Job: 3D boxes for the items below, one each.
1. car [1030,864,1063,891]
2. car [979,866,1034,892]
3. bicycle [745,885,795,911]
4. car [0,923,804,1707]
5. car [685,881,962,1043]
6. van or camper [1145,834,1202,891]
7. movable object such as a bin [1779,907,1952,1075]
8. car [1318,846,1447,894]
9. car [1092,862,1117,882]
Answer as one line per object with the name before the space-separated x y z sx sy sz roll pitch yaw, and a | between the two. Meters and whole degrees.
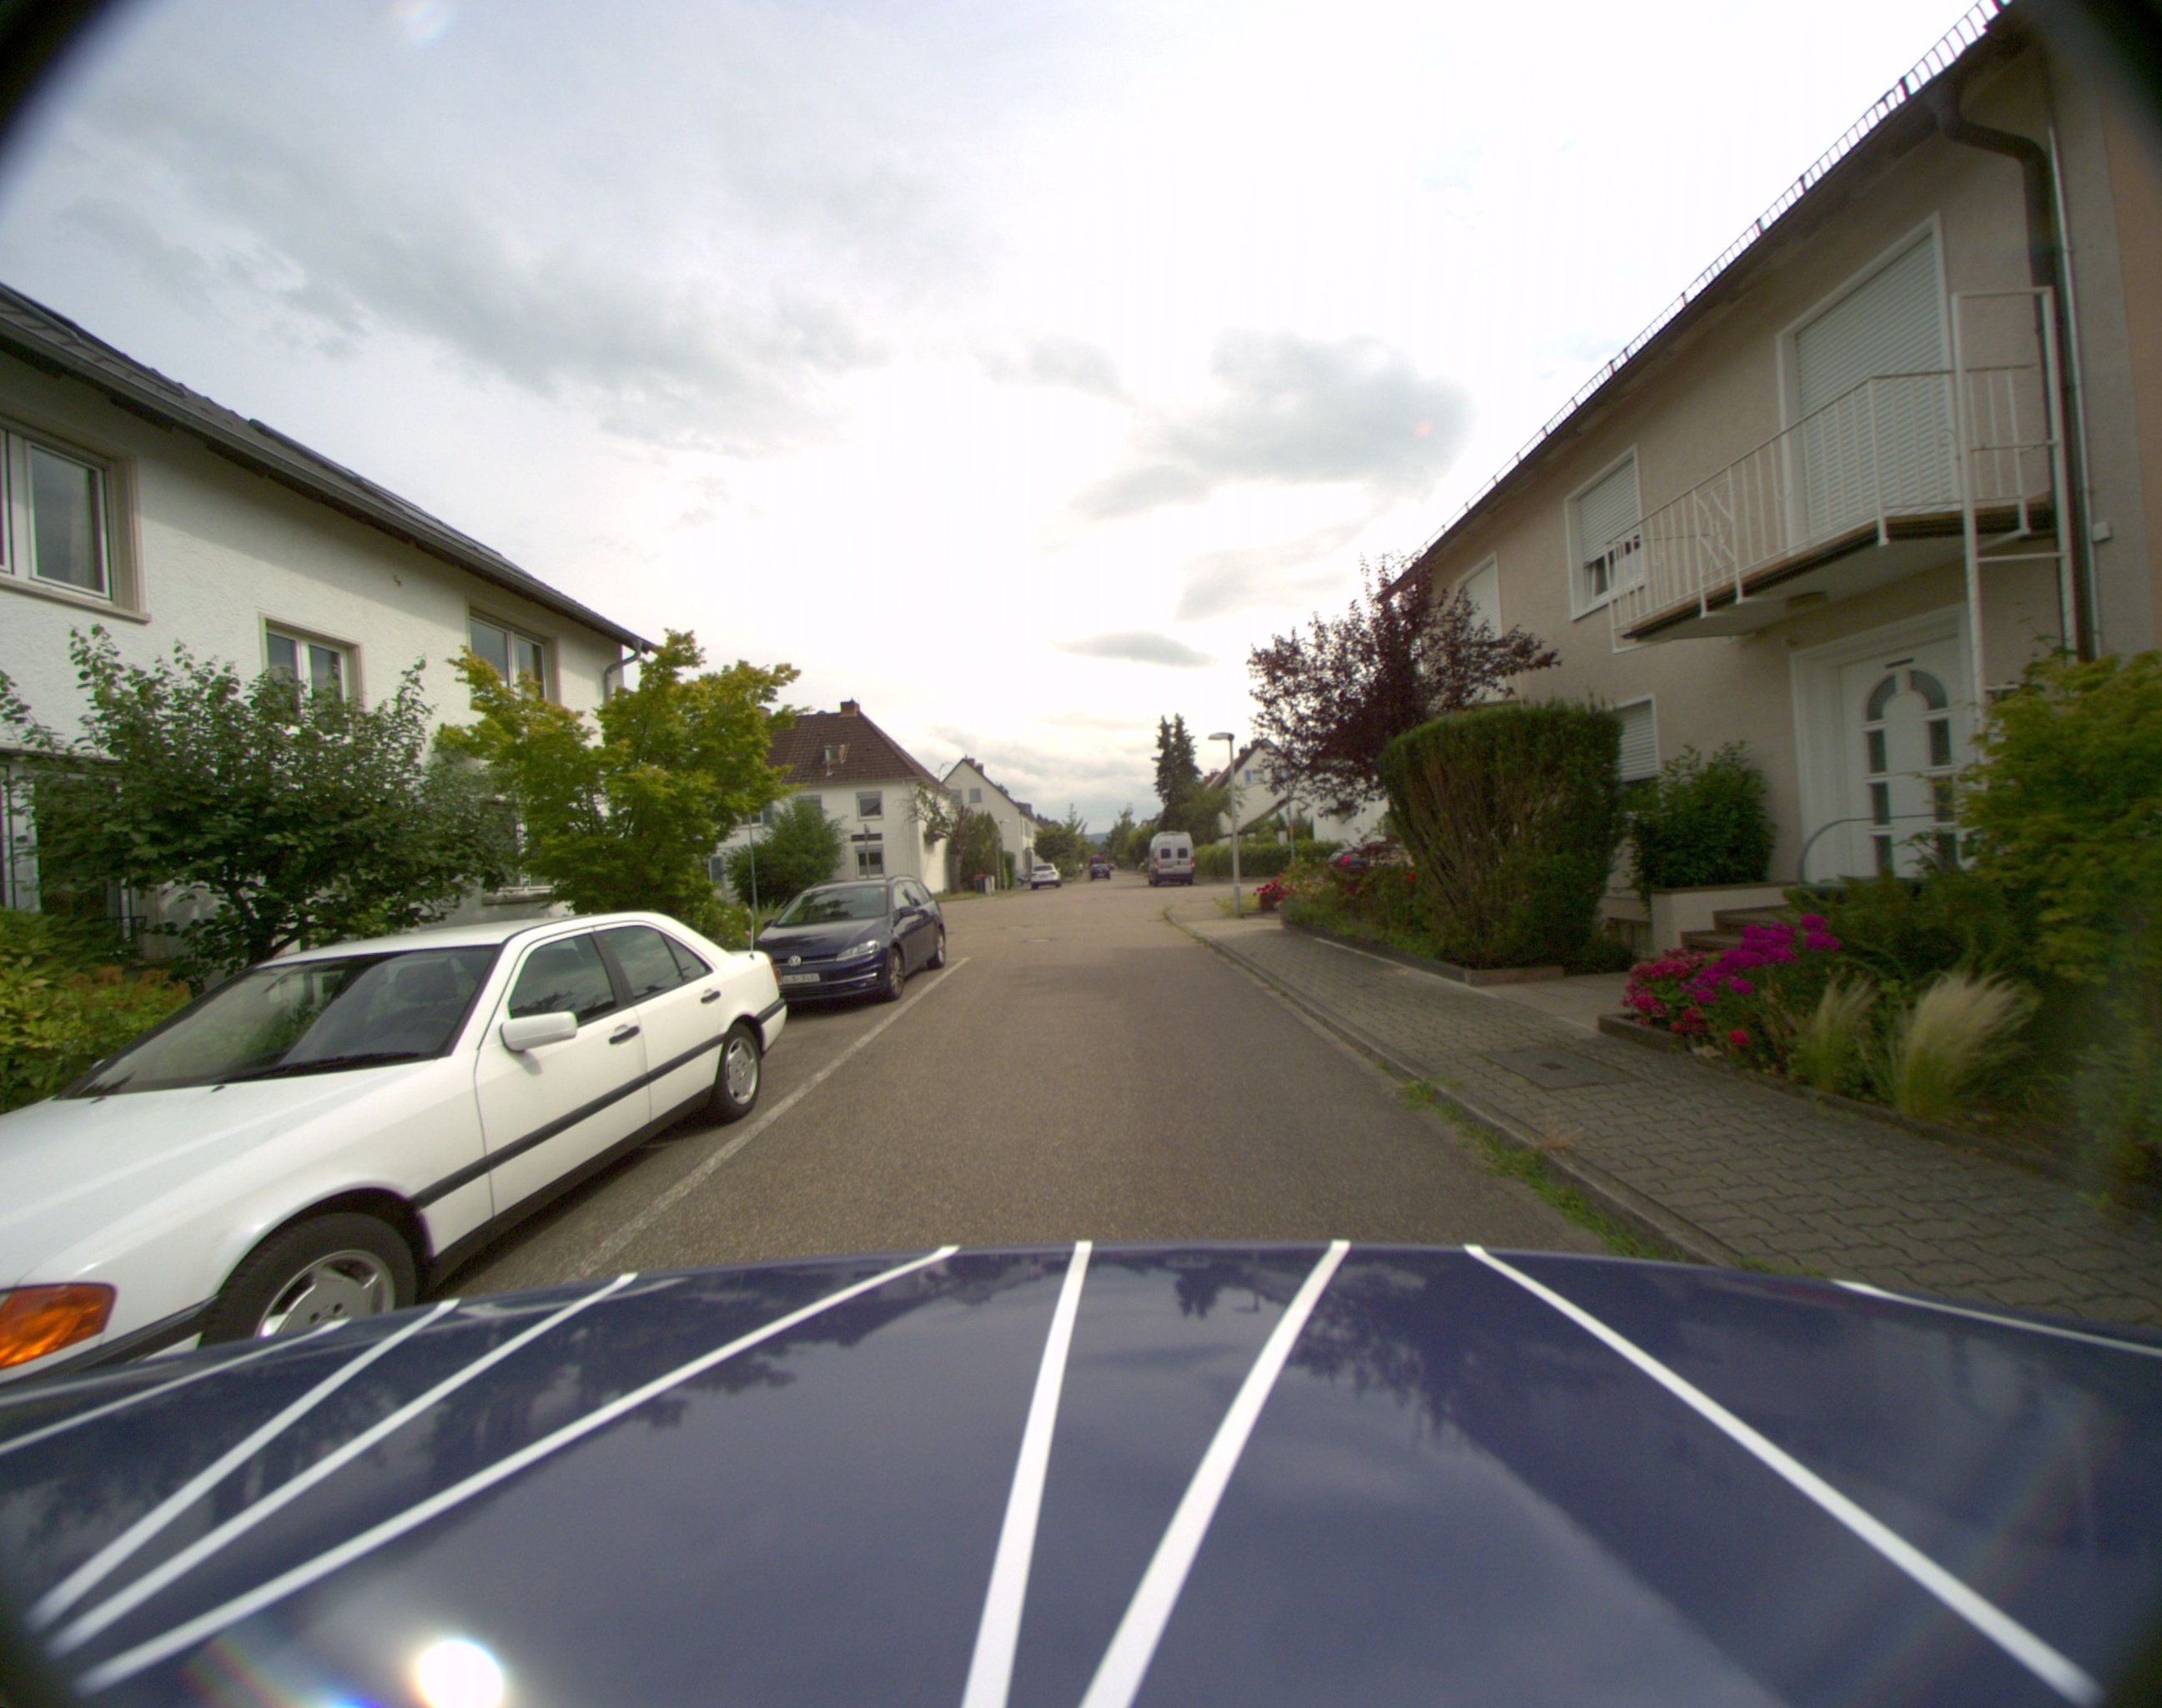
car | -2.266 1.550 50.740 1.999 1.589 4.000 -4 -1 -2
car | -5.895 1.975 60.407 3.996 1.696 2.000 -4 0 2
bicycle | -15.317 2.148 37.467 2.169 1.128 0.572 -4 0 1
car | -3.036 1.239 3.519 1.697 1.356 4.698 -4 -1 0
car | -3.025 1.196 10.210 1.872 1.431 4.851 -4 -1 2
van or camper | 4.887 0.434 41.003 2.346 2.718 5.749 -4 -1 2
movable object such as a bin | 4.824 0.817 4.699 0.490 0.925 0.506 -4 0 0
car | 10.749 0.578 27.279 3.882 1.433 1.722 -4 0 1
car | 2.224 1.660 70.656 1.998 1.695 4.002 -4 -1 4
